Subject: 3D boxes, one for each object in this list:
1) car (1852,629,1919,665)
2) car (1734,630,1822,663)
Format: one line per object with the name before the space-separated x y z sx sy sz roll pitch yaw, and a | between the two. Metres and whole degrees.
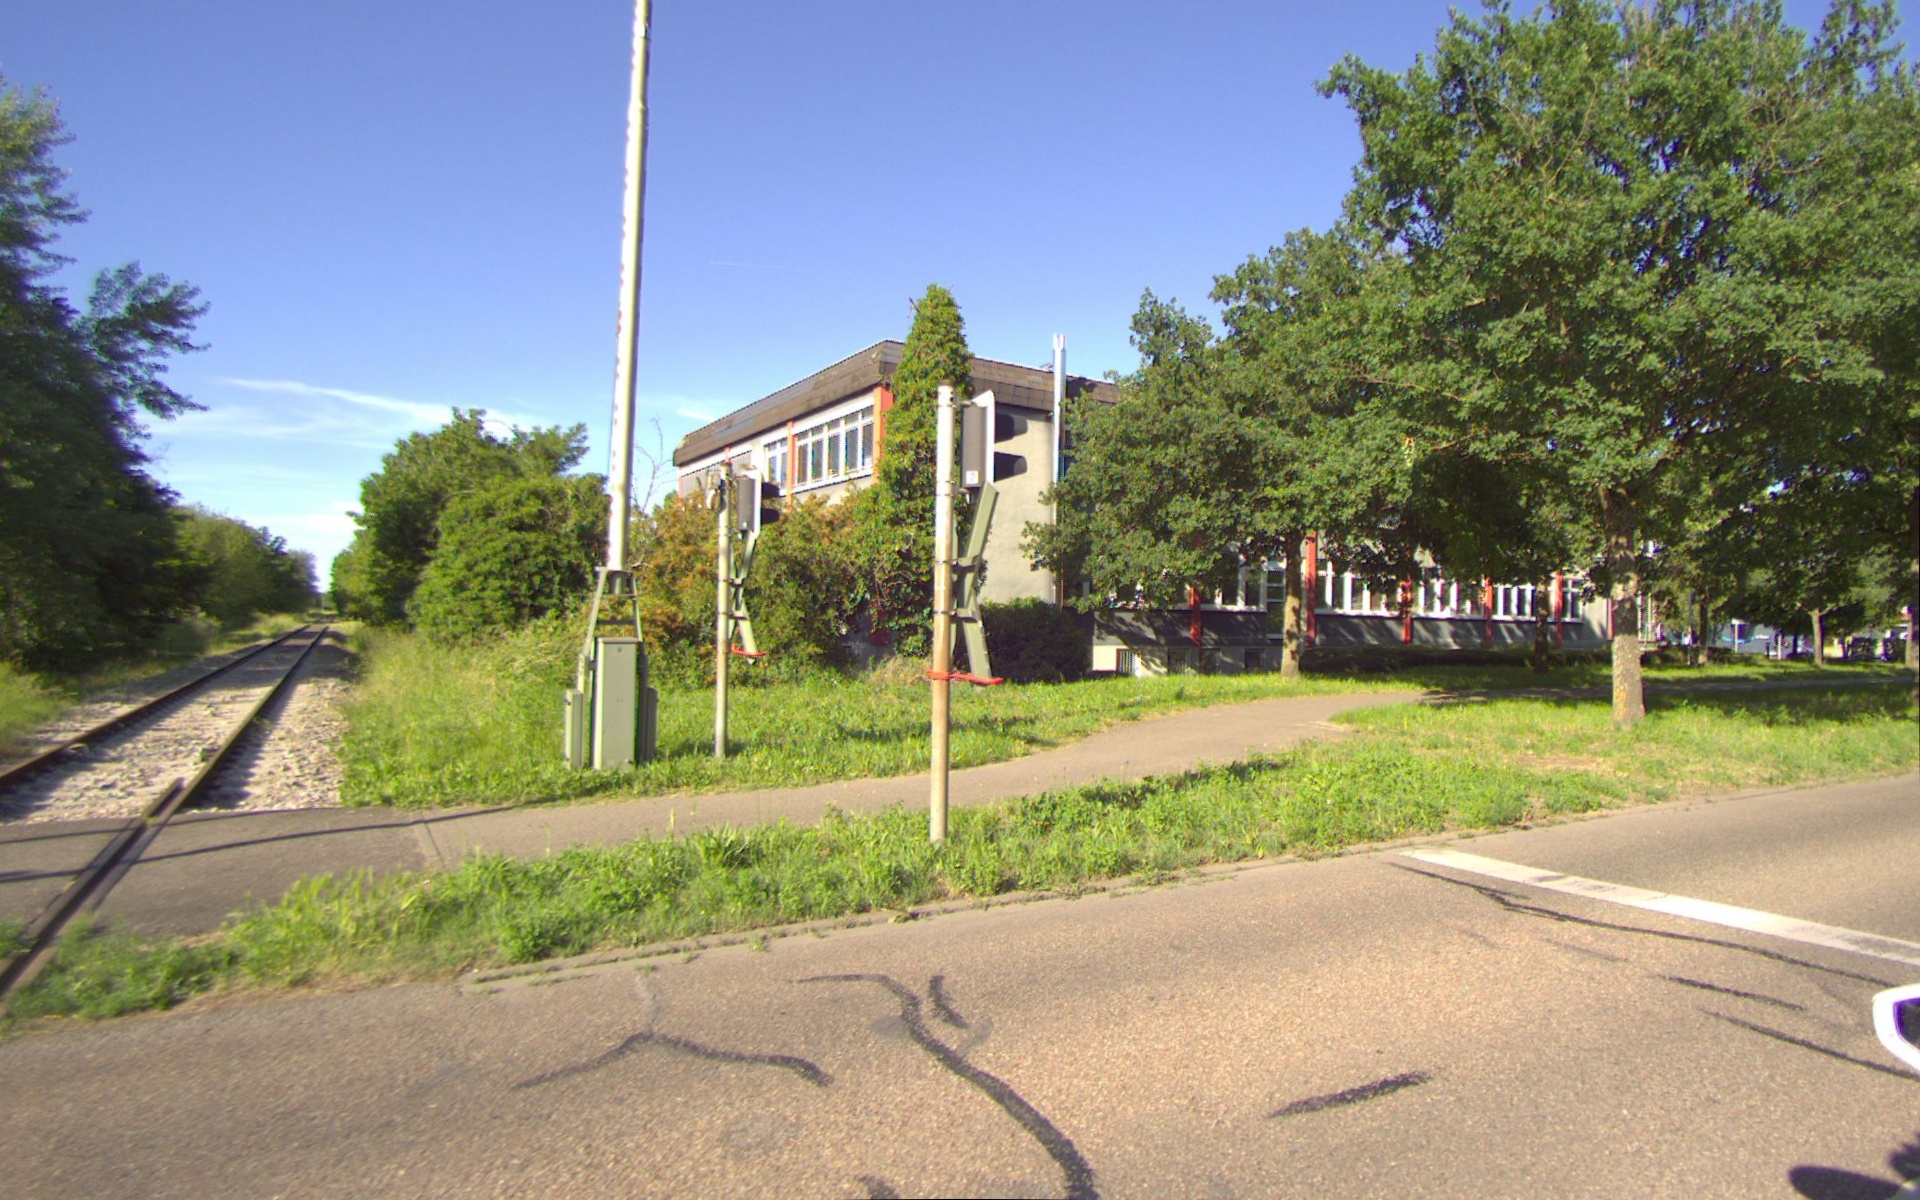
car | 59.245 2.979 62.165 1.984 2.040 5.741 2 1 -40
car | 46.876 2.662 57.595 1.973 1.664 3.349 2 1 -25
